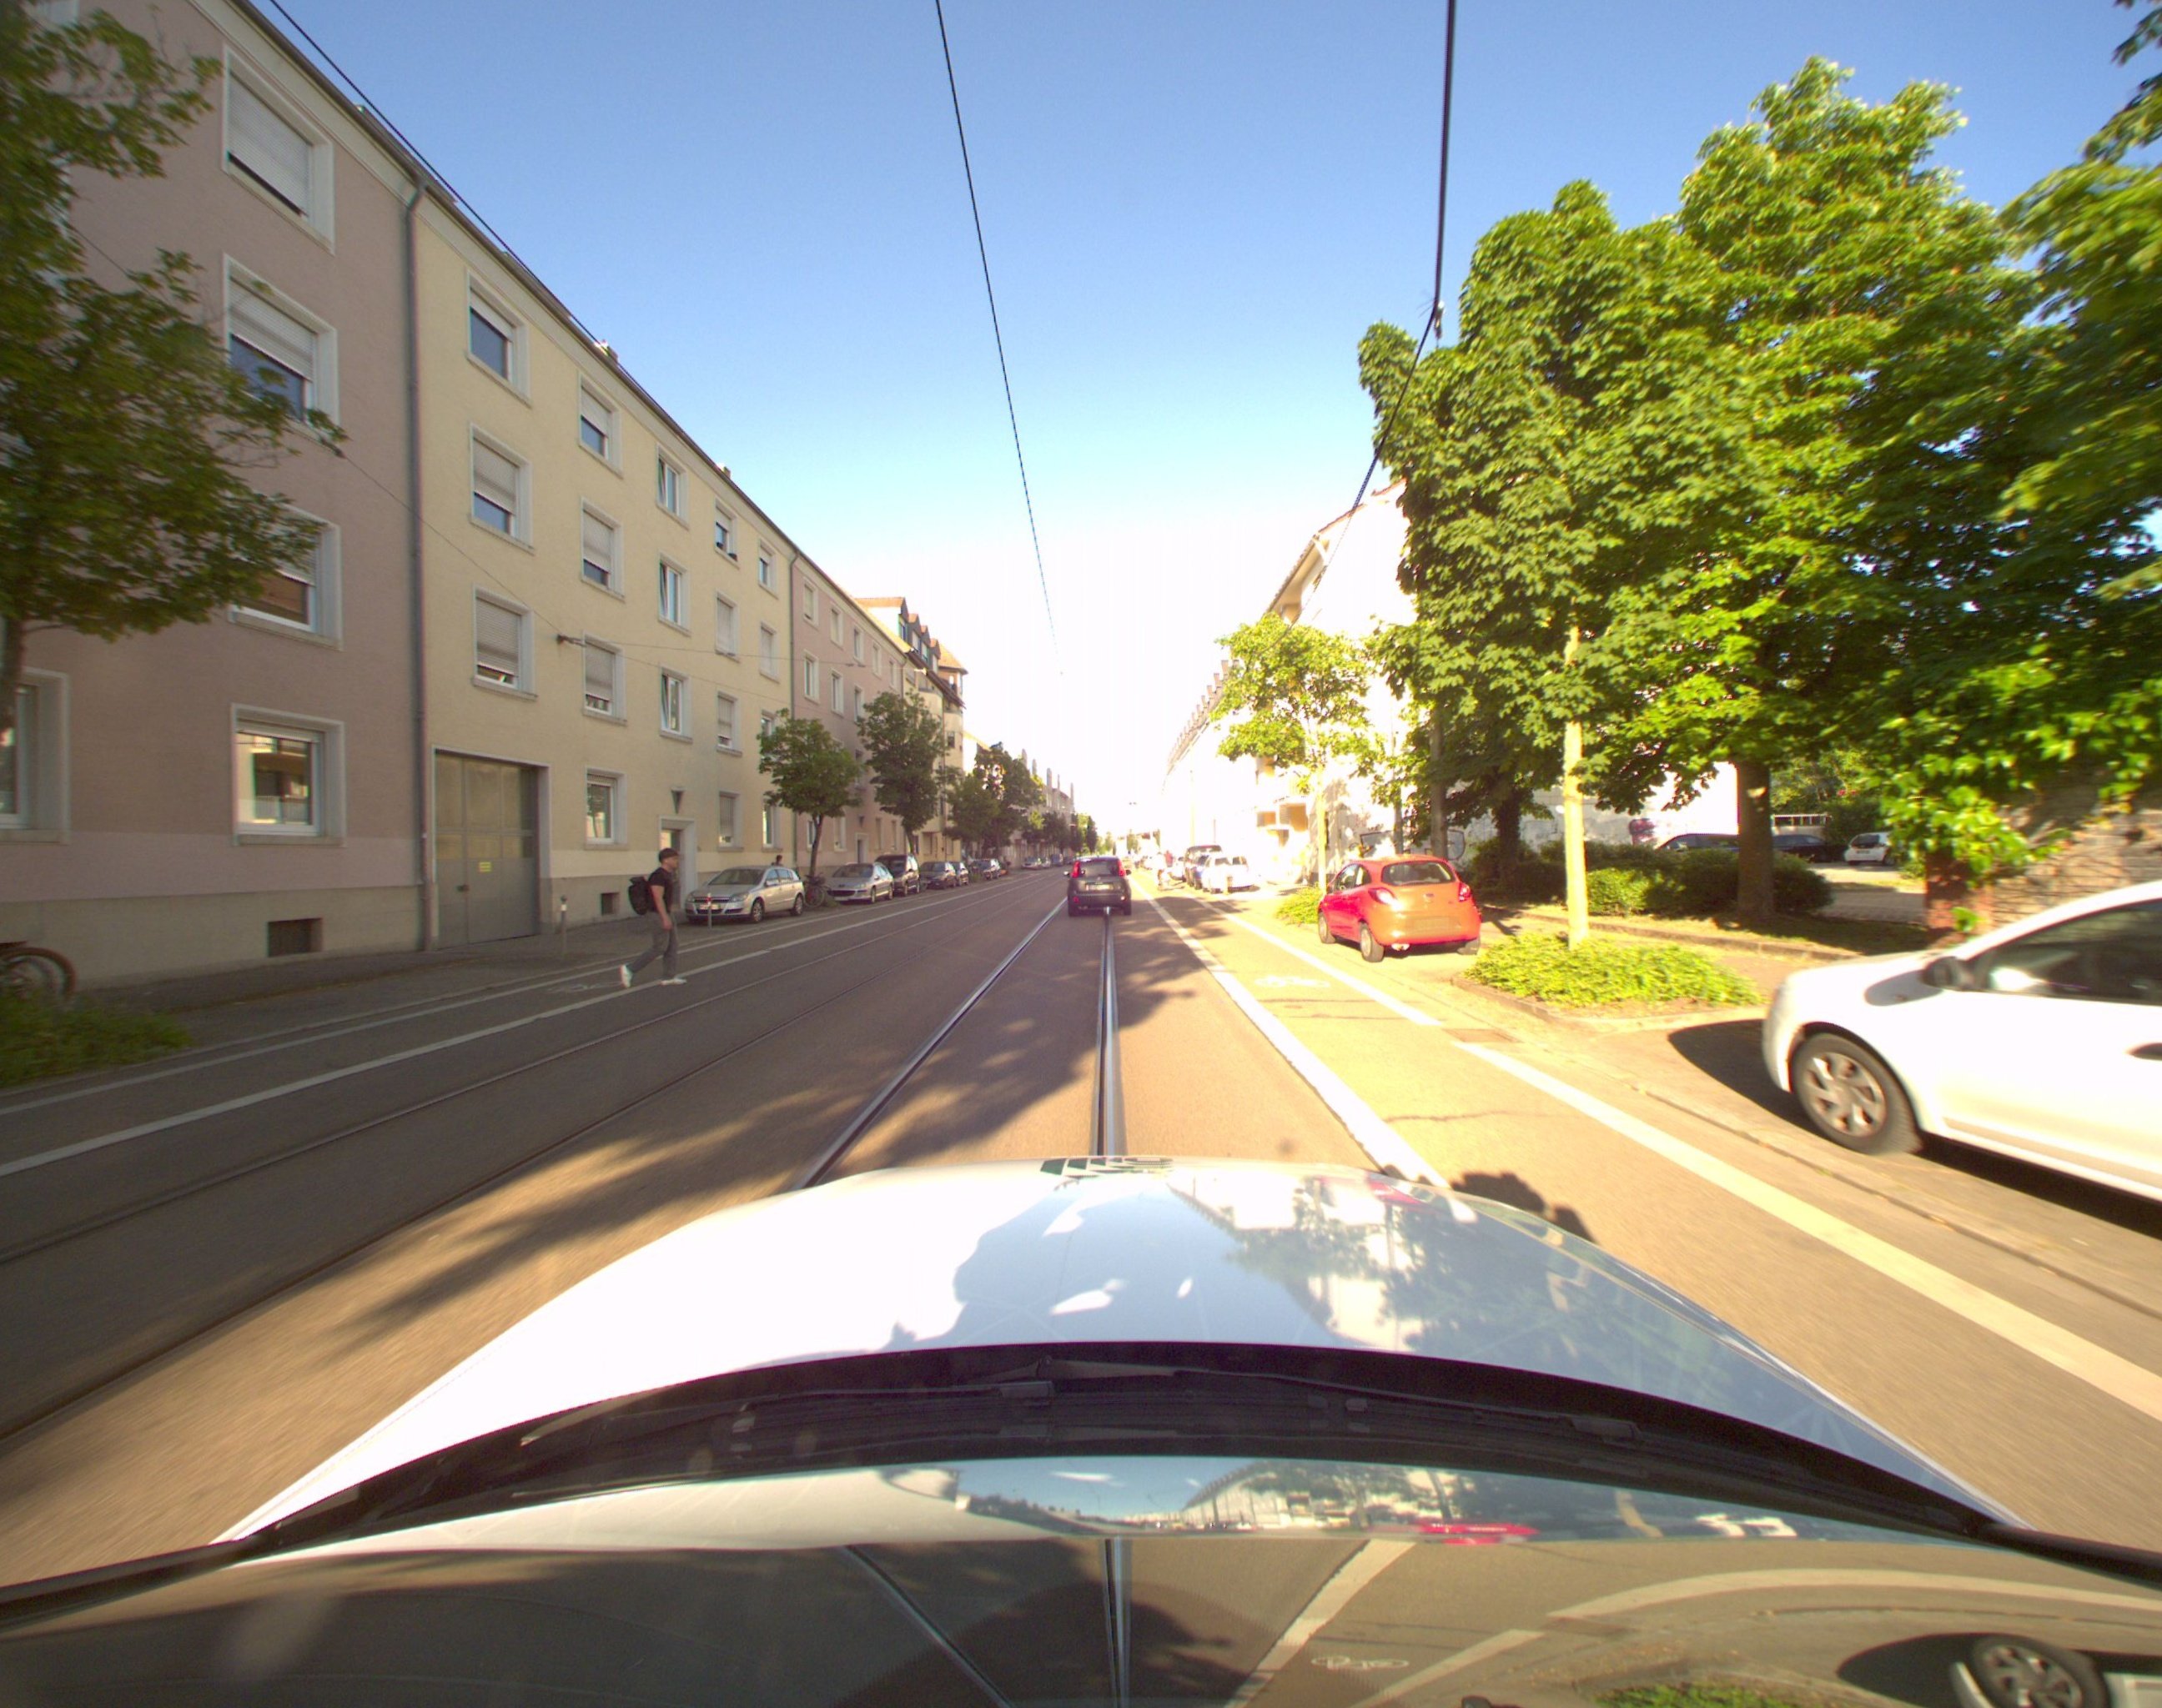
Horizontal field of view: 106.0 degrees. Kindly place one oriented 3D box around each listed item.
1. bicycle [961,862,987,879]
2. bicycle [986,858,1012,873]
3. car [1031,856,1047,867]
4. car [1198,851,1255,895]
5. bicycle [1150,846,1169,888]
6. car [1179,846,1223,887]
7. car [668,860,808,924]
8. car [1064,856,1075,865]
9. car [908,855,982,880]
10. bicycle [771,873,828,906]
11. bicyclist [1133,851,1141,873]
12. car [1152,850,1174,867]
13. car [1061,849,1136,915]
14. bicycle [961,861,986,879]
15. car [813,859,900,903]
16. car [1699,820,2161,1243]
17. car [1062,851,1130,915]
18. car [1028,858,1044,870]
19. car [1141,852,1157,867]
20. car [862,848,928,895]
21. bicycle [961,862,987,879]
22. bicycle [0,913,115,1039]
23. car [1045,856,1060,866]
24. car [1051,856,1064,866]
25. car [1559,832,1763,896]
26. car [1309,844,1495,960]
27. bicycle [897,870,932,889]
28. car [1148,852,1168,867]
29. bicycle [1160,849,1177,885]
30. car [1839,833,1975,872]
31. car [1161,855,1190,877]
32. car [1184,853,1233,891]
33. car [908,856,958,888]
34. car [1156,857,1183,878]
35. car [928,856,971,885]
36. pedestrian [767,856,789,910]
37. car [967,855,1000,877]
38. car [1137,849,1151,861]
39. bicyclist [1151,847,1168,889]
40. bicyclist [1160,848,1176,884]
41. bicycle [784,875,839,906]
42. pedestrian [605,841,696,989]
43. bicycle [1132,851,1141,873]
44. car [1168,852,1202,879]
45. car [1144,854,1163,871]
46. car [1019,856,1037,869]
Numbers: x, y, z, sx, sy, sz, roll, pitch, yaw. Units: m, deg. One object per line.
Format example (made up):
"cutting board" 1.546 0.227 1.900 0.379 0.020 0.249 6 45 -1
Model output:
"bicycle" -7.459 1.138 56.841 1.724 1.196 0.372 0 0 -2
"bicycle" -7.417 1.019 73.407 2.271 1.288 0.757 0 0 -4
"car" -5.581 1.002 107.996 1.700 1.497 3.724 0 0 3
"car" 5.555 0.699 31.388 1.649 1.571 3.500 0 0 1
"bicycle" 3.337 0.549 34.724 0.672 1.747 2.158 0 0 1
"car" 5.981 0.582 41.032 1.649 1.944 4.666 0 0 1
"car" -8.859 0.913 21.456 1.802 1.508 4.193 0 0 2
"car" -1.905 1.134 137.833 1.700 1.497 3.724 0 0 3
"car" -13.351 1.330 80.188 6.873 2.403 2.177 0 0 3
"bicycle" -8.912 1.119 25.797 1.658 1.001 0.477 0 0 4
"bicyclist" 5.301 0.768 77.526 0.712 2.014 0.832 0 0 1
"car" 6.776 0.383 67.630 1.577 1.405 3.377 0 0 1
"car" 0.371 0.672 20.984 1.726 1.508 3.395 -2 0 -2
"bicycle" -7.391 1.085 56.030 1.724 1.196 0.372 0 0 -2
"car" -8.222 0.932 30.260 1.802 1.508 4.682 0 0 2
"car" 4.754 0.621 3.168 1.683 1.530 4.001 -2 0 1
"car" 0.421 0.709 21.881 1.644 1.541 4.236 0 0 1
"car" -5.691 1.229 103.159 1.700 1.497 3.724 0 0 3
"car" 7.372 0.637 88.265 1.577 1.599 3.377 0 0 1
"car" -8.178 0.747 36.258 1.802 1.943 4.335 0 0 2
"bicycle" -7.429 1.128 56.426 1.724 1.196 0.372 0 0 -2
"bicycle" -10.198 1.165 7.720 0.327 1.101 1.440 0 0 2
"car" -4.034 0.996 115.655 1.700 1.497 3.724 0 0 3
"car" -3.506 0.979 122.086 1.700 1.497 3.724 0 0 3
"car" 15.347 0.263 21.698 4.137 1.624 1.893 0 0 -1
"car" 4.912 0.668 12.953 1.629 1.508 3.398 -3 0 2
"bicycle" -8.100 1.236 39.684 1.628 0.937 0.516 0 0 -3
"car" 7.191 0.493 76.015 1.577 1.405 3.377 0 0 1
"bicycle" 4.322 0.632 40.317 0.672 1.747 2.158 0 0 1
"car" 35.594 -0.062 35.178 3.974 1.486 1.894 -2 0 -1
"car" 6.108 0.778 53.007 1.577 1.405 3.377 0 0 1
"car" 5.563 0.757 35.891 1.649 1.571 3.877 0 0 1
"car" -7.858 0.925 43.615 1.802 1.619 4.066 0 0 2
"car" 6.622 0.969 61.167 1.577 1.405 3.377 -4 0 1
"car" -7.781 0.955 48.608 1.802 1.619 4.066 0 0 2
"pedestrian" -10.311 0.965 27.707 0.534 1.826 0.543 0 0 1
"car" -7.093 0.869 59.394 1.828 1.556 4.001 0 0 1
"car" 8.304 0.175 107.827 1.577 1.599 3.377 0 0 1
"bicyclist" 3.338 0.578 34.691 0.697 1.759 0.757 0 0 1
"bicyclist" 4.311 0.595 40.327 0.697 1.759 0.757 0 0 1
"bicycle" -8.908 1.201 26.923 1.666 1.001 0.475 0 0 -10
"pedestrian" -5.453 0.739 10.366 0.852 1.776 0.731 -2 0 -18
"bicycle" 5.291 0.773 77.357 0.739 2.014 2.812 0 0 1
"car" 5.922 0.625 46.562 1.649 1.500 3.130 0 0 1
"car" 7.143 0.816 80.288 1.577 1.599 3.377 0 0 1
"car" -6.073 0.997 93.680 1.700 1.497 3.724 0 0 3
